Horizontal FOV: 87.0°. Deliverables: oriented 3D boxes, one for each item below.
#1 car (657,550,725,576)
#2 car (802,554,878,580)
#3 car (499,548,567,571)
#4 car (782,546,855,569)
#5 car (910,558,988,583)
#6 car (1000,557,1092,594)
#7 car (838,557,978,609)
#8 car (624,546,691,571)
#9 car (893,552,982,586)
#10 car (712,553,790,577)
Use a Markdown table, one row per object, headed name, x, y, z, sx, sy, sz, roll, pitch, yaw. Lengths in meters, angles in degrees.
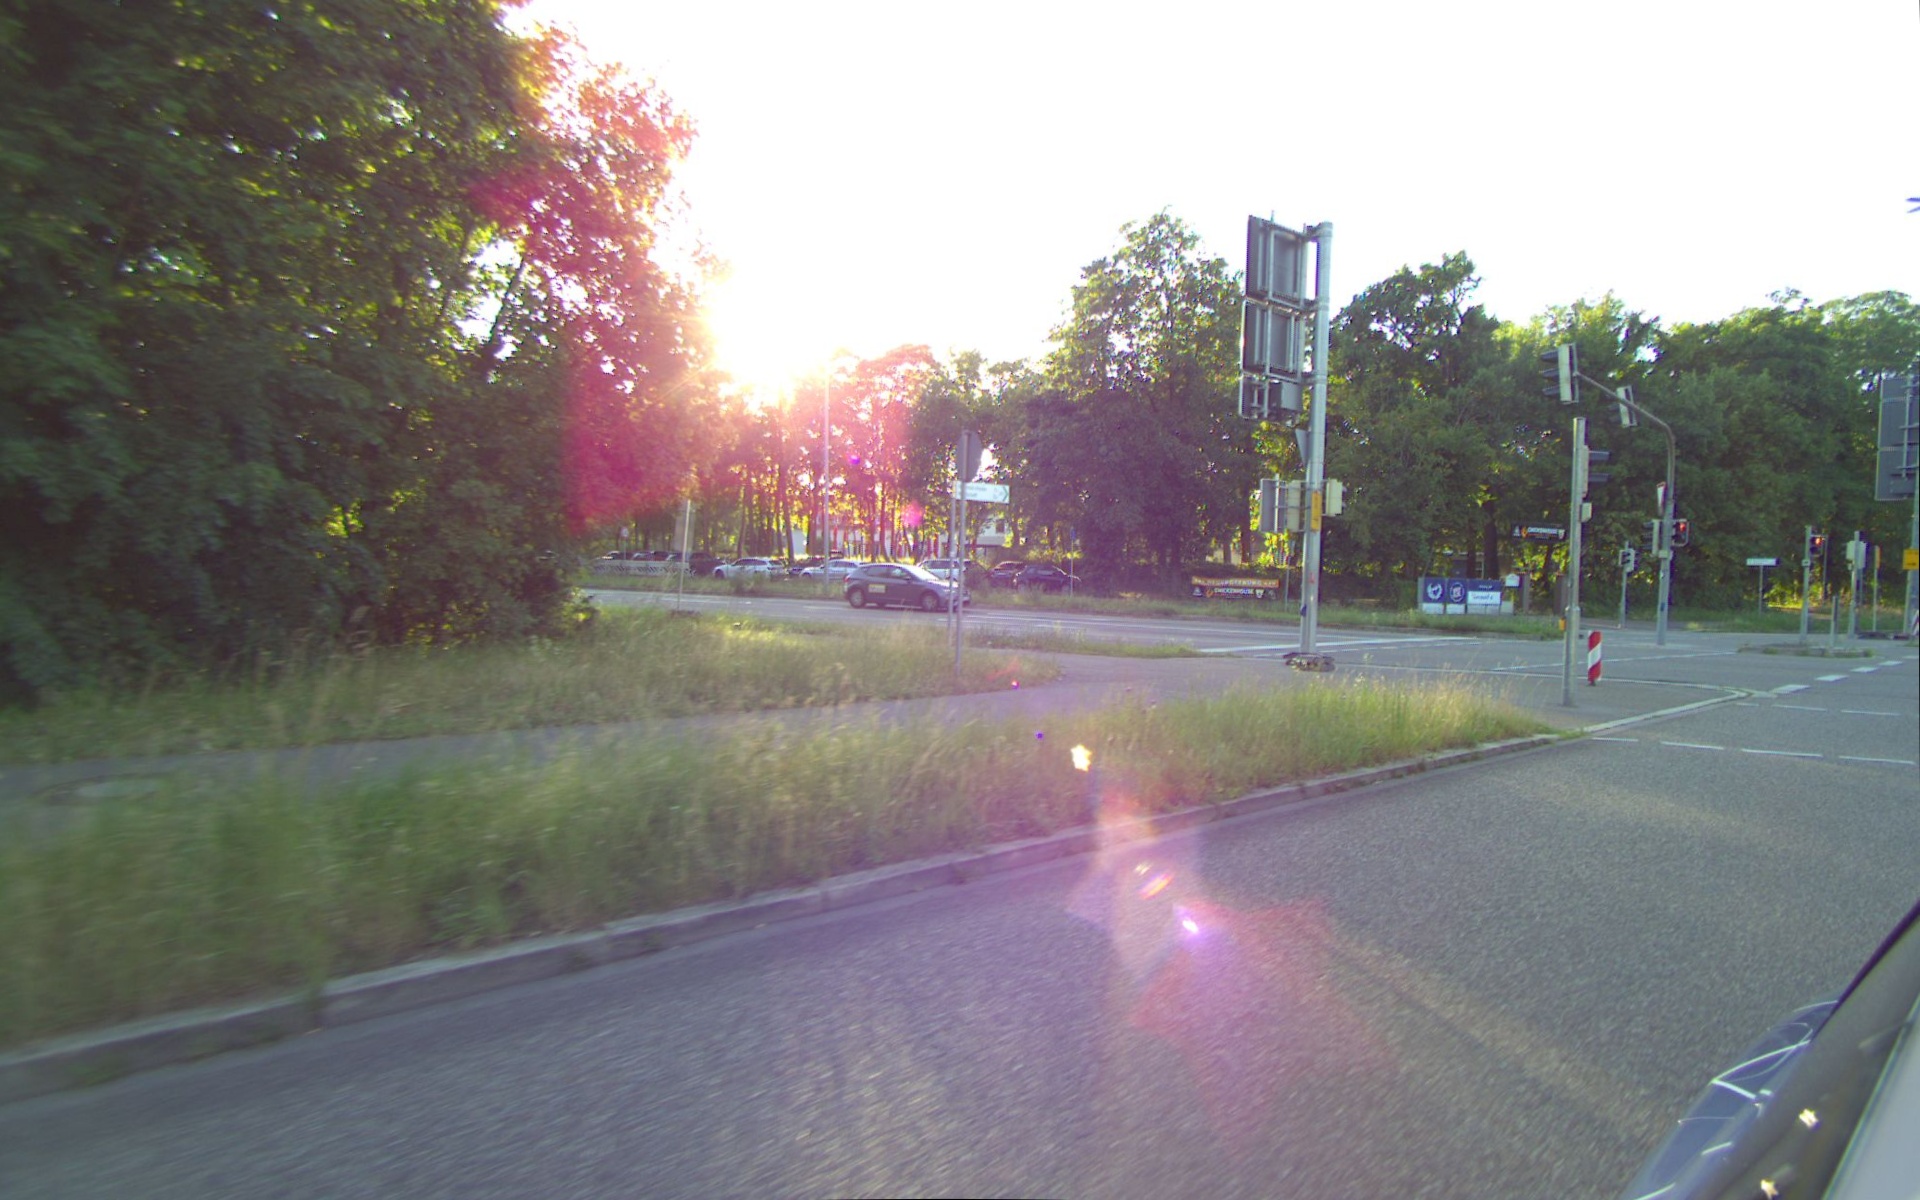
| name | x | y | z | sx | sy | sz | roll | pitch | yaw |
| --- | --- | --- | --- | --- | --- | --- | --- | --- | --- |
| car | -16.243 | -2.229 | 61.333 | 1.746 | 1.497 | 4.011 | 2 | 2 | 28 |
| car | -6.845 | -1.884 | 57.762 | 3.956 | 1.348 | 1.851 | 2 | 2 | 24 |
| car | -28.524 | -2.692 | 67.738 | 1.765 | 1.497 | 4.137 | 2 | 2 | 24 |
| car | -9.471 | -2.839 | 67.732 | 4.498 | 1.424 | 1.851 | 2 | 2 | 24 |
| car | -0.684 | -1.818 | 62.326 | 4.498 | 1.424 | 1.851 | 2 | 2 | 24 |
| car | 4.465 | -1.277 | 52.461 | 4.481 | 1.678 | 1.858 | 3 | 2 | 14 |
| car | -1.651 | -0.583 | 31.911 | 4.038 | 1.422 | 1.855 | 3 | 4 | 28 |
| car | -19.024 | -2.597 | 63.800 | 1.979 | 1.471 | 3.967 | 2 | 2 | 25 |
| car | -1.255 | -1.693 | 55.187 | 4.498 | 1.678 | 1.851 | 2 | 2 | 24 |
| car | -12.512 | -2.094 | 60.516 | 4.450 | 1.340 | 1.667 | 2 | 2 | 24 |
